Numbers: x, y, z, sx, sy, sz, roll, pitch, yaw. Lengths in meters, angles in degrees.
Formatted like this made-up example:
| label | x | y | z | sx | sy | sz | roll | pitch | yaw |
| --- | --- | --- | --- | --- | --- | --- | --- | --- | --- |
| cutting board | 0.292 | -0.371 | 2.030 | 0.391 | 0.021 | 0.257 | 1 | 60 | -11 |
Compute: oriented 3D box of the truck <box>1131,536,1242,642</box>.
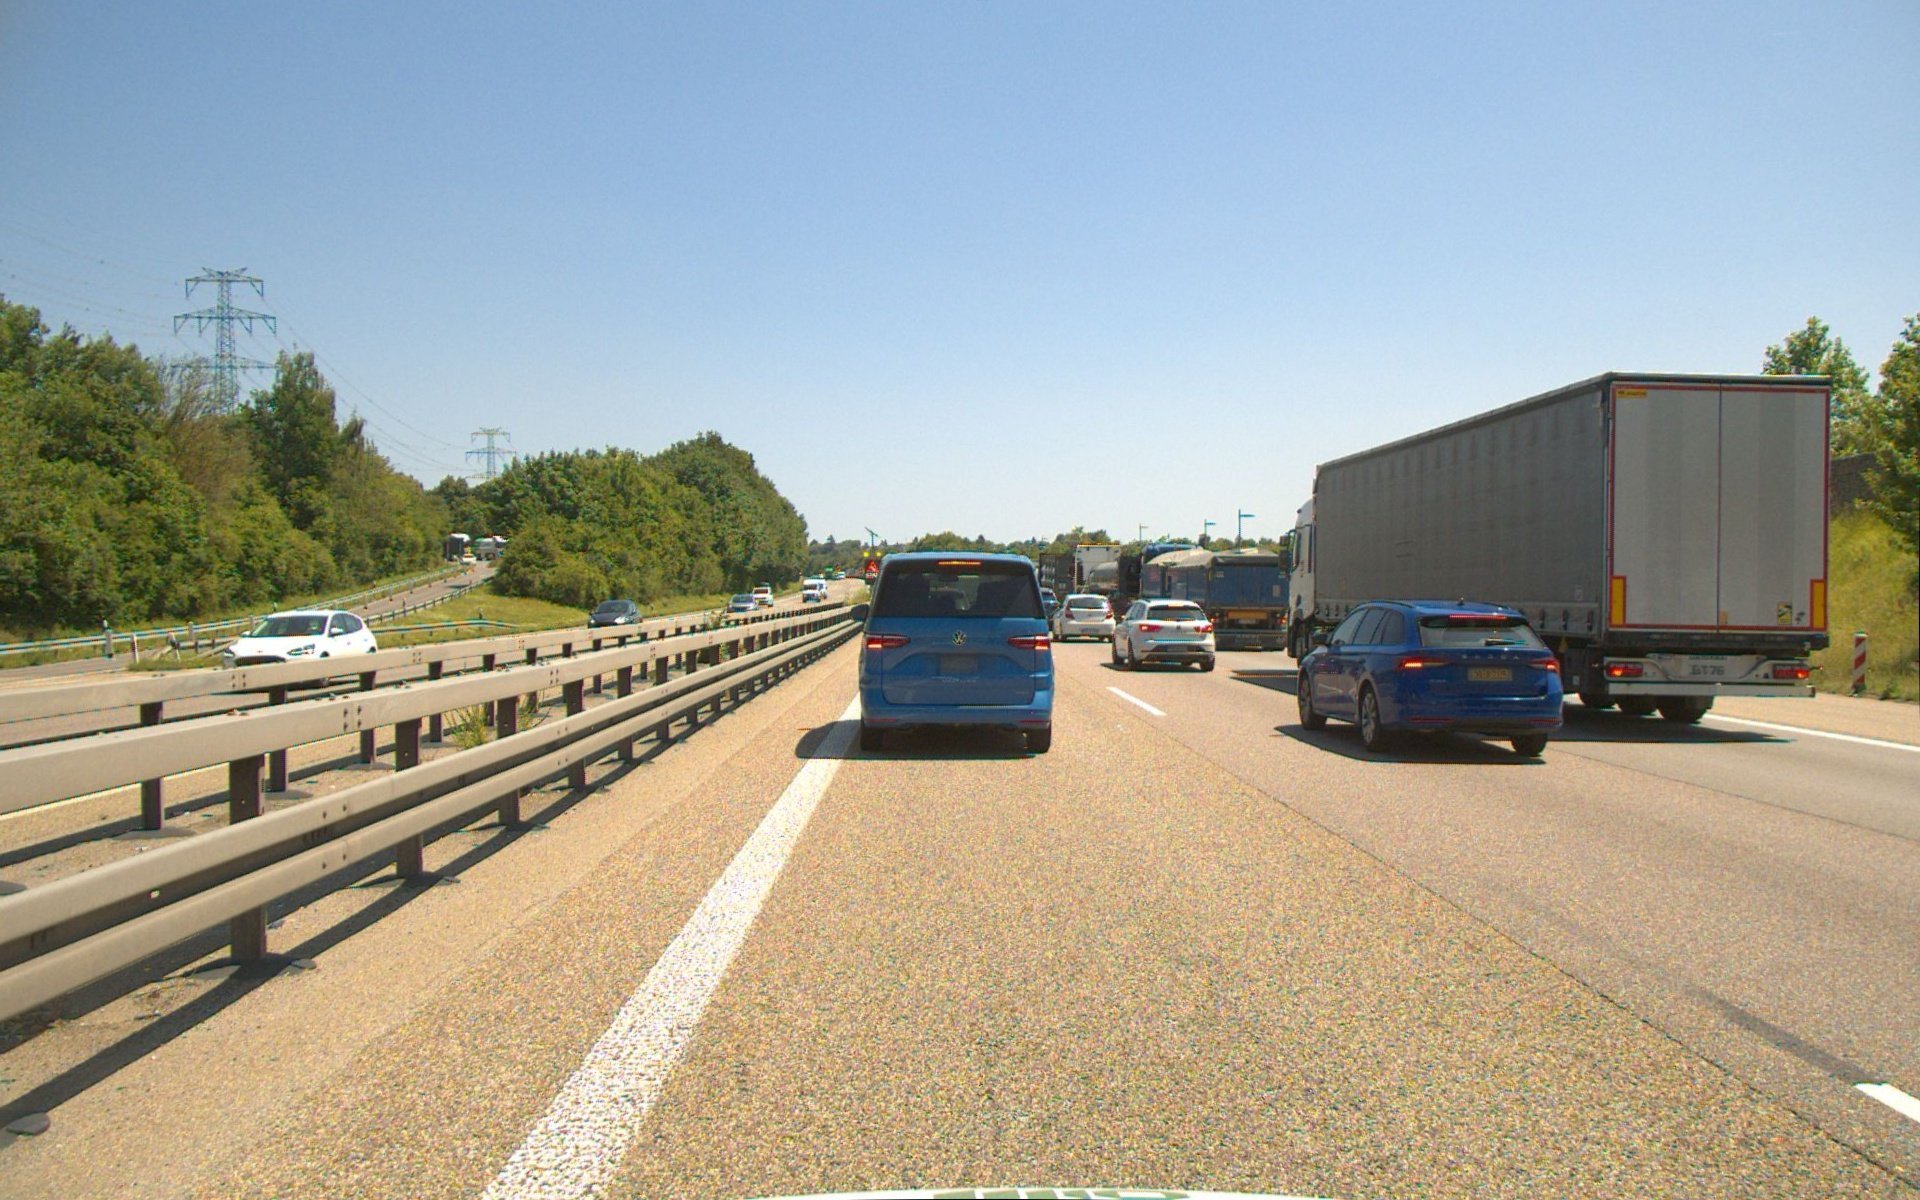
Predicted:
| label | x | y | z | sx | sy | sz | roll | pitch | yaw |
| --- | --- | --- | --- | --- | --- | --- | --- | --- | --- |
| truck | 7.720 | -0.399 | 57.148 | 2.688 | 3.369 | 7.131 | 1 | 1 | -1 |

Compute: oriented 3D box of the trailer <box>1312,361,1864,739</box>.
| label | x | y | z | sx | sy | sz | roll | pitch | yaw |
| --- | --- | --- | --- | --- | --- | --- | --- | --- | --- |
| trailer | 8.334 | -0.541 | 24.956 | 2.902 | 4.120 | 13.748 | 0 | 0 | -1 |

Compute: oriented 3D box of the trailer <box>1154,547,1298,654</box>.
| label | x | y | z | sx | sy | sz | roll | pitch | yaw |
| --- | --- | --- | --- | --- | --- | --- | --- | --- | --- |
| trailer | 7.848 | -0.039 | 49.983 | 2.688 | 2.886 | 9.114 | 1 | 1 | -1 |

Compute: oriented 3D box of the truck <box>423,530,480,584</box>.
| label | x | y | z | sx | sy | sz | roll | pitch | yaw |
| --- | --- | --- | --- | --- | --- | --- | --- | --- | --- |
| truck | -73.894 | -6.125 | 240.143 | 4.625 | 7.355 | 13.496 | 2 | -1 | -31 |

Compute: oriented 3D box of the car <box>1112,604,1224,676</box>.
| label | x | y | z | sx | sy | sz | roll | pitch | yaw |
| --- | --- | --- | --- | --- | --- | --- | --- | --- | --- |
| car | 4.269 | 0.786 | 34.539 | 1.829 | 1.385 | 4.000 | 1 | 0 | 0 |

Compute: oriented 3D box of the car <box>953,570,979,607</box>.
| label | x | y | z | sx | sy | sz | roll | pitch | yaw |
| --- | --- | --- | --- | --- | --- | --- | --- | --- | --- |
| car | 0.846 | -1.686 | 249.902 | 3.155 | 5.349 | 8.136 | 1 | -1 | -5 |

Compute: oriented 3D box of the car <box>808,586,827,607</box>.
| label | x | y | z | sx | sy | sz | roll | pitch | yaw |
| --- | --- | --- | --- | --- | --- | --- | --- | --- | --- |
| car | -19.264 | -0.450 | 223.759 | 2.112 | 2.639 | 5.888 | -1 | -1 | -2 |

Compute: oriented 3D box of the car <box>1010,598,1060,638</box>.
| label | x | y | z | sx | sy | sz | roll | pitch | yaw |
| --- | --- | --- | --- | --- | --- | --- | --- | --- | --- |
| car | 3.004 | 0.748 | 67.065 | 1.745 | 1.551 | 3.998 | 1 | -1 | -1 |

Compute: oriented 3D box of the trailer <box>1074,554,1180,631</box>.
| label | x | y | z | sx | sy | sz | roll | pitch | yaw |
| --- | --- | --- | --- | --- | --- | --- | --- | --- | --- |
| trailer | 7.490 | -0.220 | 76.631 | 3.571 | 3.133 | 15.772 | 1 | -1 | 1 |

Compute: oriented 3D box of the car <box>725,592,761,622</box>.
| label | x | y | z | sx | sy | sz | roll | pitch | yaw |
| --- | --- | --- | --- | --- | --- | --- | --- | --- | --- |
| car | -12.798 | 0.434 | 97.695 | 1.737 | 1.659 | 3.949 | 1 | -1 | -2 |

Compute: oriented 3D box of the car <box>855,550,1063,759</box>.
| label | x | y | z | sx | sy | sz | roll | pitch | yaw |
| --- | --- | --- | --- | --- | --- | --- | --- | --- | --- |
| car | -0.005 | 0.520 | 17.024 | 1.862 | 1.870 | 4.000 | 1 | -1 | 0 |

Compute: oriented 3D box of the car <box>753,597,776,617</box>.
| label | x | y | z | sx | sy | sz | roll | pitch | yaw |
| --- | --- | --- | --- | --- | --- | --- | --- | --- | --- |
| car | -19.661 | 0.710 | 166.490 | 1.827 | 1.938 | 5.489 | -2 | -1 | -3 |

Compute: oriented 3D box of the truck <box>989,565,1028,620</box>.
| label | x | y | z | sx | sy | sz | roll | pitch | yaw |
| --- | --- | --- | --- | --- | --- | --- | --- | --- | --- |
| truck | 4.493 | -0.629 | 156.281 | 3.006 | 5.006 | 10.686 | 1 | -1 | -1 |

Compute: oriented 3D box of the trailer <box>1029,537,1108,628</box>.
| label | x | y | z | sx | sy | sz | roll | pitch | yaw |
| --- | --- | --- | --- | --- | --- | --- | --- | --- | --- |
| trailer | 6.620 | -0.934 | 103.038 | 3.573 | 5.226 | 13.069 | 1 | -1 | -2 |

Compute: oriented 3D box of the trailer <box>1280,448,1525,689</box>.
| label | x | y | z | sx | sy | sz | roll | pitch | yaw |
| --- | --- | --- | --- | --- | --- | --- | --- | --- | --- |
| trailer | 8.208 | -0.551 | 31.566 | 2.865 | 4.114 | 6.409 | 0 | 0 | -1 |

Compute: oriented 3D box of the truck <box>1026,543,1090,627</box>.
| label | x | y | z | sx | sy | sz | roll | pitch | yaw |
| --- | --- | --- | --- | --- | --- | --- | --- | --- | --- |
| truck | 6.410 | -0.927 | 109.029 | 3.585 | 5.270 | 5.705 | 1 | -1 | -3 |

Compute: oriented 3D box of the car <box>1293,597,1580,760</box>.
| label | x | y | z | sx | sy | sz | roll | pitch | yaw |
| --- | --- | --- | --- | --- | --- | --- | --- | --- | --- |
| car | 4.794 | 0.744 | 17.304 | 1.671 | 1.466 | 4.427 | 1 | -1 | -1 |

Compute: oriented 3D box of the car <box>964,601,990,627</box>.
| label | x | y | z | sx | sy | sz | roll | pitch | yaw |
| --- | --- | --- | --- | --- | --- | --- | --- | --- | --- |
| car | 1.334 | 1.166 | 133.712 | 1.953 | 2.049 | 3.998 | 1 | -1 | -1 |

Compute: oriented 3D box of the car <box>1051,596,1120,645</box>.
| label | x | y | z | sx | sy | sz | roll | pitch | yaw |
| --- | --- | --- | --- | --- | --- | --- | --- | --- | --- |
| car | 3.979 | 0.661 | 53.043 | 1.803 | 1.480 | 3.998 | 1 | -1 | -1 |

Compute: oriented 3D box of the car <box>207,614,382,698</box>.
| label | x | y | z | sx | sy | sz | roll | pitch | yaw |
| --- | --- | --- | --- | --- | --- | --- | --- | --- | --- |
| car | -12.877 | 1.049 | 32.275 | 1.813 | 1.493 | 4.302 | -1 | -1 | -3 |

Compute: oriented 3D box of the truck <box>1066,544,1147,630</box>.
| label | x | y | z | sx | sy | sz | roll | pitch | yaw |
| --- | --- | --- | --- | --- | --- | --- | --- | --- | --- |
| truck | 7.471 | -0.601 | 85.484 | 3.551 | 4.166 | 7.524 | 1 | -1 | 1 |

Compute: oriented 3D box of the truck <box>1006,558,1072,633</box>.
| label | x | y | z | sx | sy | sz | roll | pitch | yaw |
| --- | --- | --- | --- | --- | --- | --- | --- | --- | --- |
| truck | 5.917 | -0.236 | 127.265 | 3.549 | 5.304 | 15.680 | 1 | -1 | -3 |

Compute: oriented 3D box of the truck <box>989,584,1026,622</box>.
| label | x | y | z | sx | sy | sz | roll | pitch | yaw |
| --- | --- | --- | --- | --- | --- | --- | --- | --- | --- |
| truck | 2.483 | 0.182 | 86.534 | 1.690 | 1.890 | 3.998 | 1 | -1 | -1 |

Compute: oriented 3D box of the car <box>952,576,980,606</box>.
| label | x | y | z | sx | sy | sz | roll | pitch | yaw |
| --- | --- | --- | --- | --- | --- | --- | --- | --- | --- |
| car | 0.543 | -0.883 | 159.533 | 2.499 | 2.765 | 5.619 | 1 | -1 | -1 |

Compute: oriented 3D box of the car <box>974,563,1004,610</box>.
| label | x | y | z | sx | sy | sz | roll | pitch | yaw |
| --- | --- | --- | --- | --- | --- | --- | --- | --- | --- |
| car | 3.322 | -1.524 | 192.852 | 3.153 | 5.349 | 8.142 | 1 | -1 | -1 |

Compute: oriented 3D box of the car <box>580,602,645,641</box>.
| label | x | y | z | sx | sy | sz | roll | pitch | yaw |
| --- | --- | --- | --- | --- | --- | --- | --- | --- | --- |
| car | -13.867 | 0.860 | 66.224 | 1.838 | 1.472 | 4.143 | -2 | -1 | -2 |
